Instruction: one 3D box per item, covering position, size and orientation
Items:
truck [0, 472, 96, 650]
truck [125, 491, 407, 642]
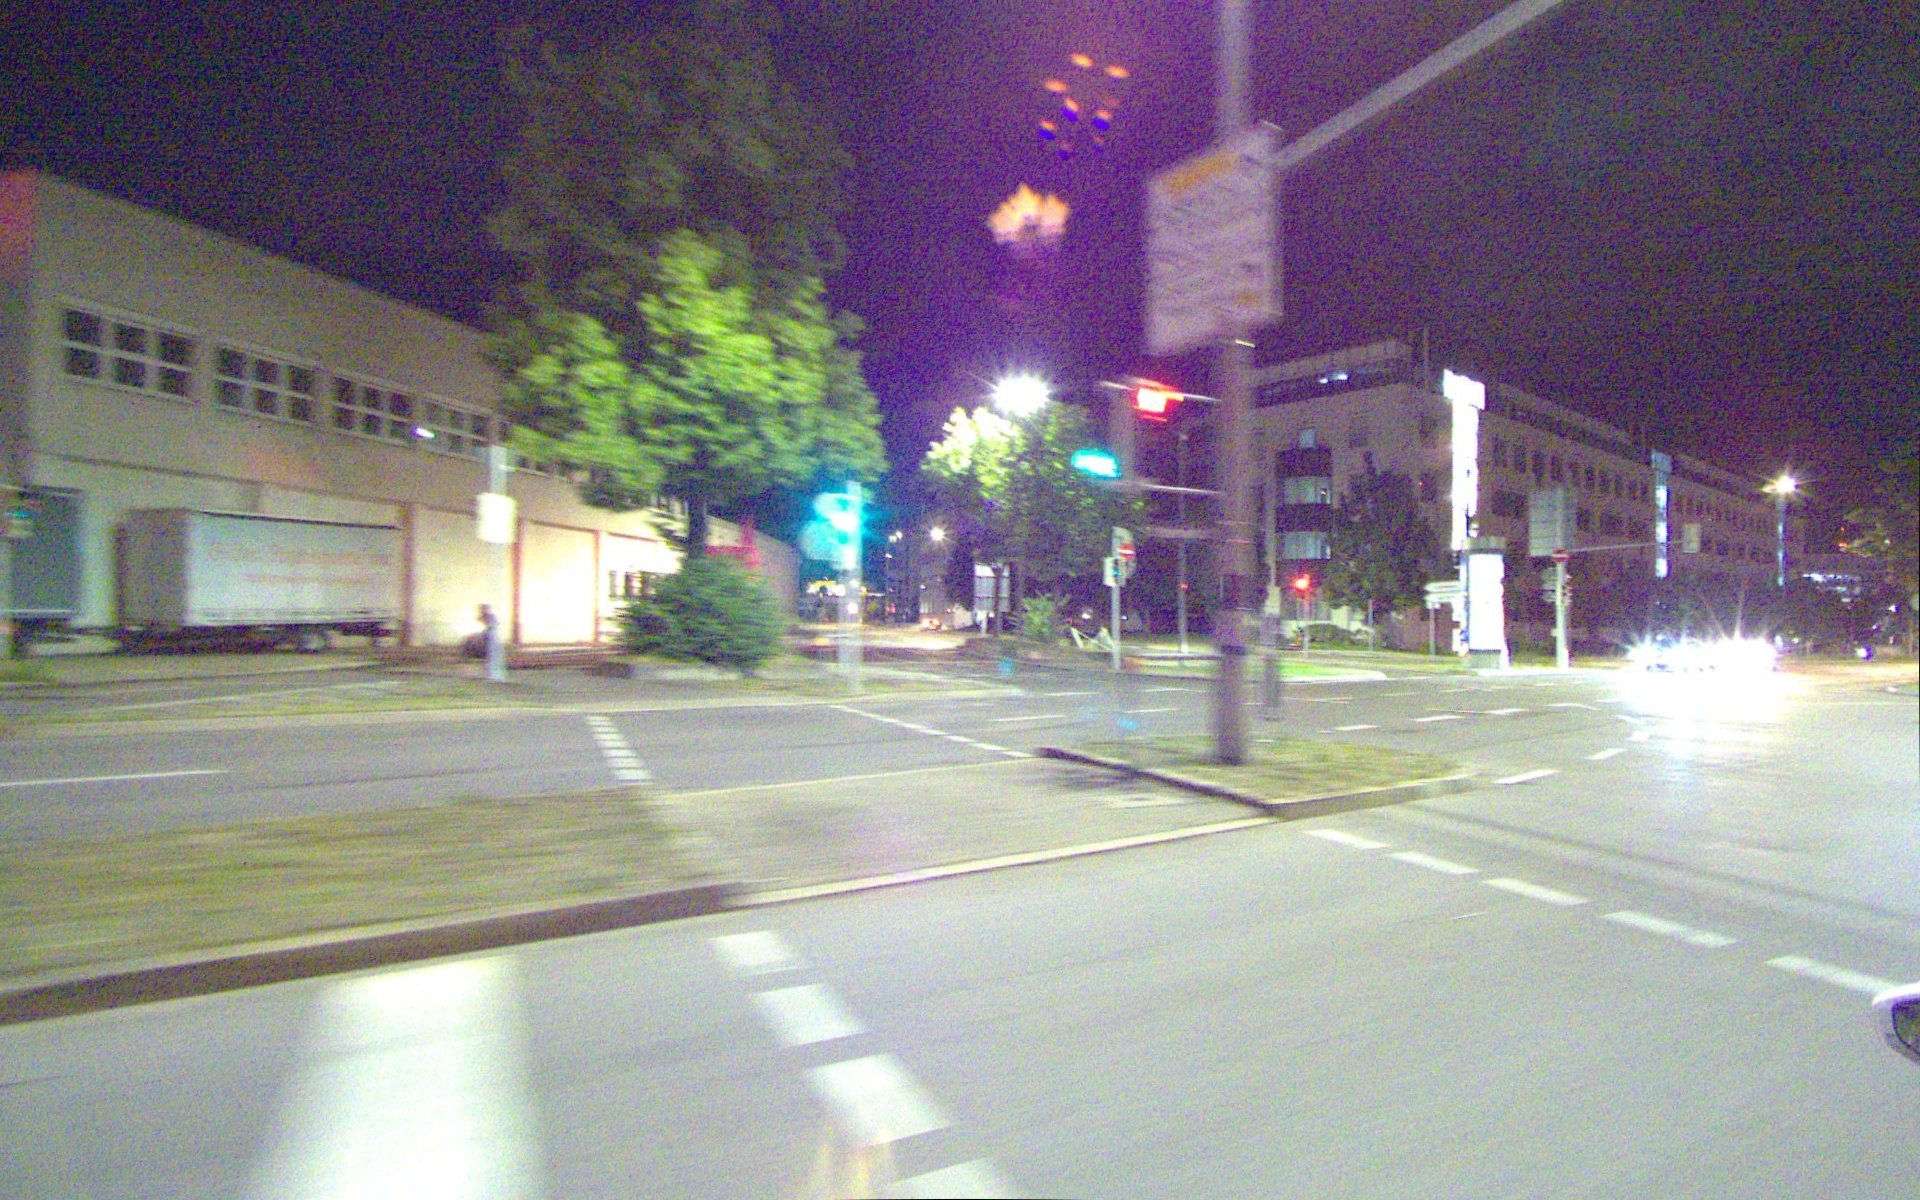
[{"bbox_3d":[-22.508,-0.911,18.982,1.962,3.772,9.353,2,0,24],"label":"truck"},{"bbox_3d":[-19.124,-0.817,28.177,2.354,3.743,6.206,2,0,21],"label":"truck"}]
